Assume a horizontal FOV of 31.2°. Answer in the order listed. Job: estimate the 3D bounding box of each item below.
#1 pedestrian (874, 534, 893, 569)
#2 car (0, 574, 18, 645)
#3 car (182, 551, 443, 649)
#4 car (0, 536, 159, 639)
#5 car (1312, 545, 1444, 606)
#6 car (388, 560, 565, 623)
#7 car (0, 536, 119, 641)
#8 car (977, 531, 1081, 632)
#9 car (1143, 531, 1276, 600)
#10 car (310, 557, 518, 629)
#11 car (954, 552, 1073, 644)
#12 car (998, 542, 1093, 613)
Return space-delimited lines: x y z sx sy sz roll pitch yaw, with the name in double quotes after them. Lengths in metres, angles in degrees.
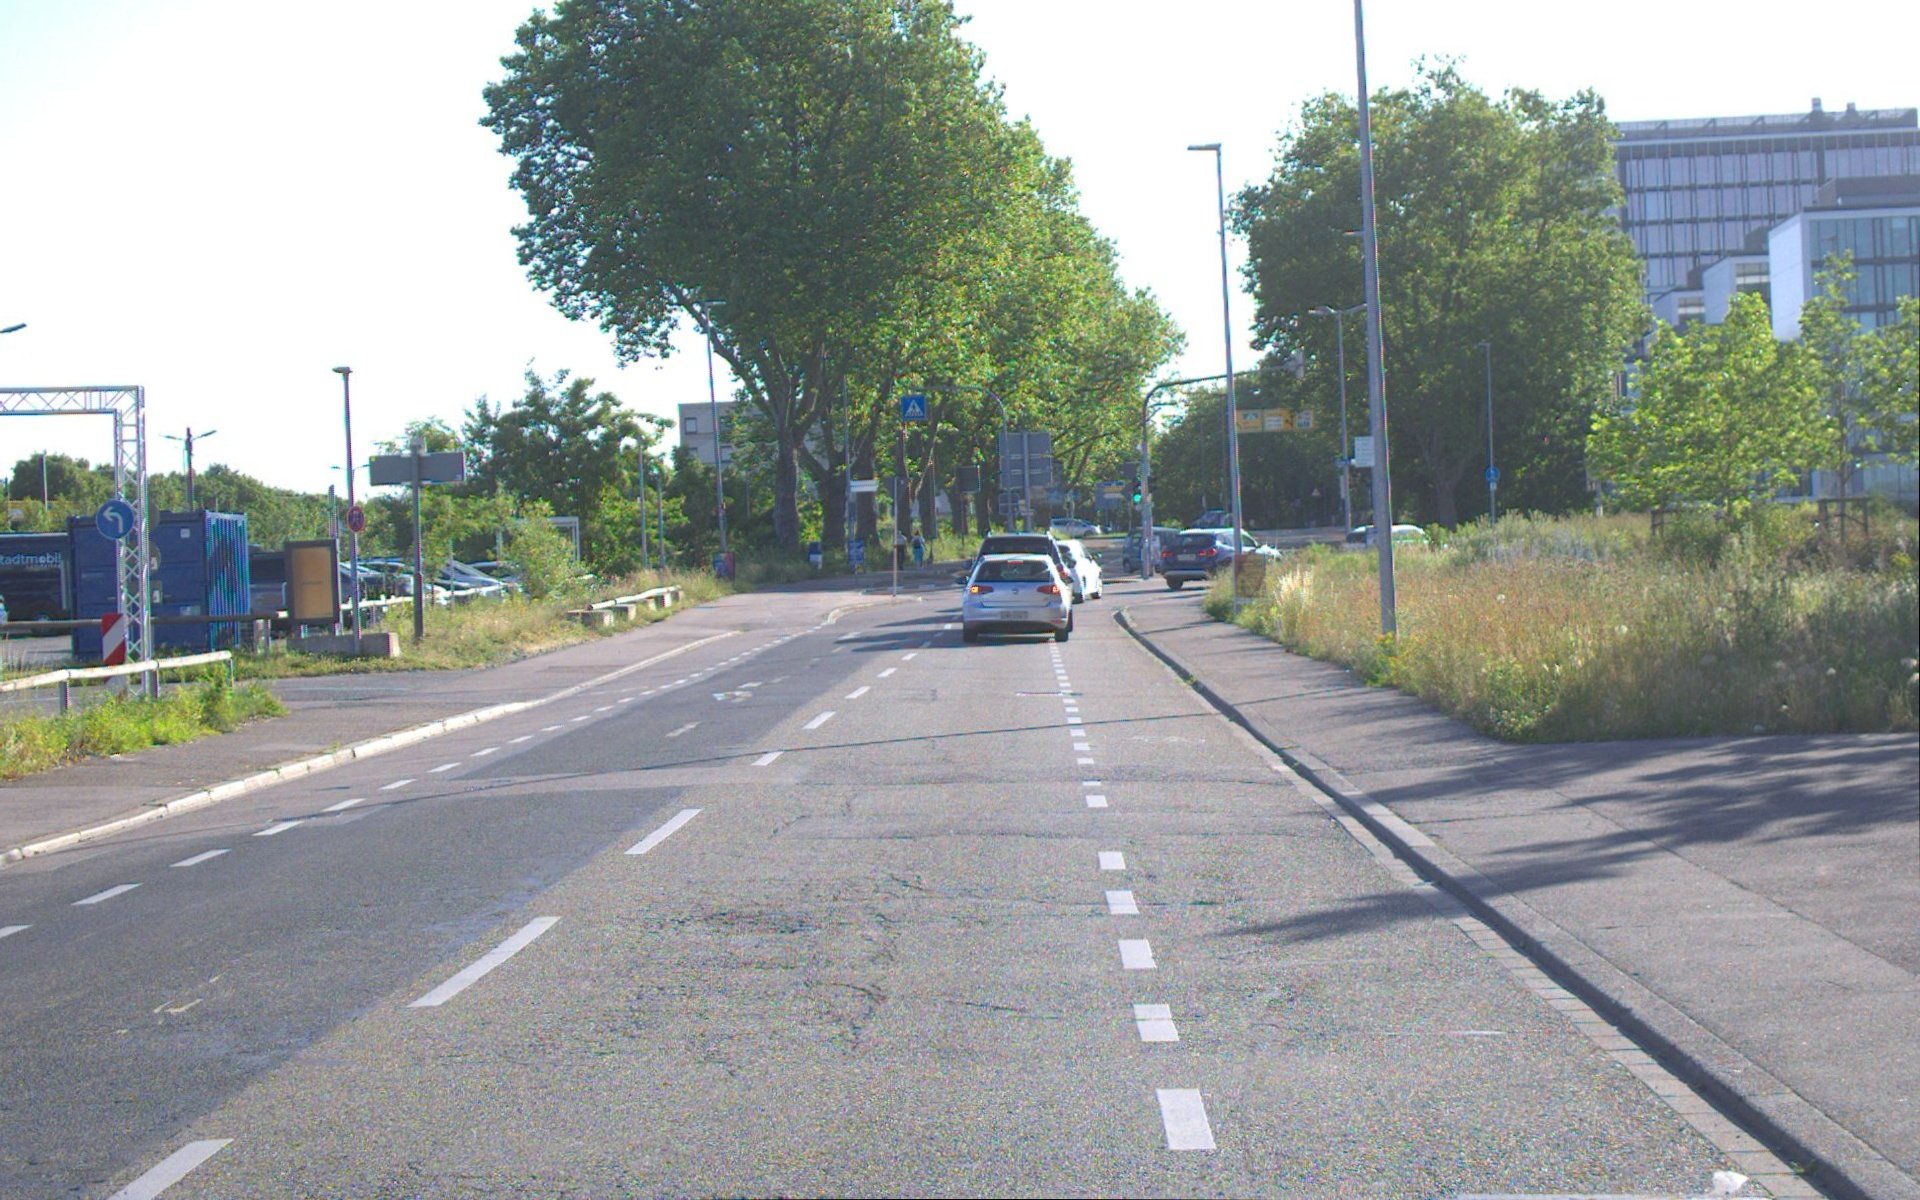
-3.110 -1.982 140.431 0.678 1.410 0.684 -3 1 2 "pedestrian"
-23.830 0.265 78.228 4.207 1.612 1.878 -1 1 1 "car"
-13.085 -0.009 69.653 4.845 1.828 2.000 -1 1 1 "car"
-22.873 -0.313 85.904 5.096 2.451 2.320 -1 1 1 "car"
12.079 -0.706 99.217 2.168 1.678 3.992 -2 0 34 "car"
-12.943 -0.234 92.153 4.425 1.552 1.878 -1 1 1 "car"
-23.156 -0.266 83.241 4.926 2.451 2.320 -1 1 1 "car"
1.299 -0.365 63.779 1.819 1.763 4.629 -1 1 2 "car"
6.622 -0.926 91.011 2.166 1.678 3.995 -2 1 25 "car"
-12.823 -0.182 80.850 4.542 1.552 1.878 -1 1 1 "car"
0.925 -0.055 57.462 1.790 1.415 4.000 -1 1 3 "car"
2.051 -0.554 81.365 1.899 1.590 3.999 -2 1 6 "car"
